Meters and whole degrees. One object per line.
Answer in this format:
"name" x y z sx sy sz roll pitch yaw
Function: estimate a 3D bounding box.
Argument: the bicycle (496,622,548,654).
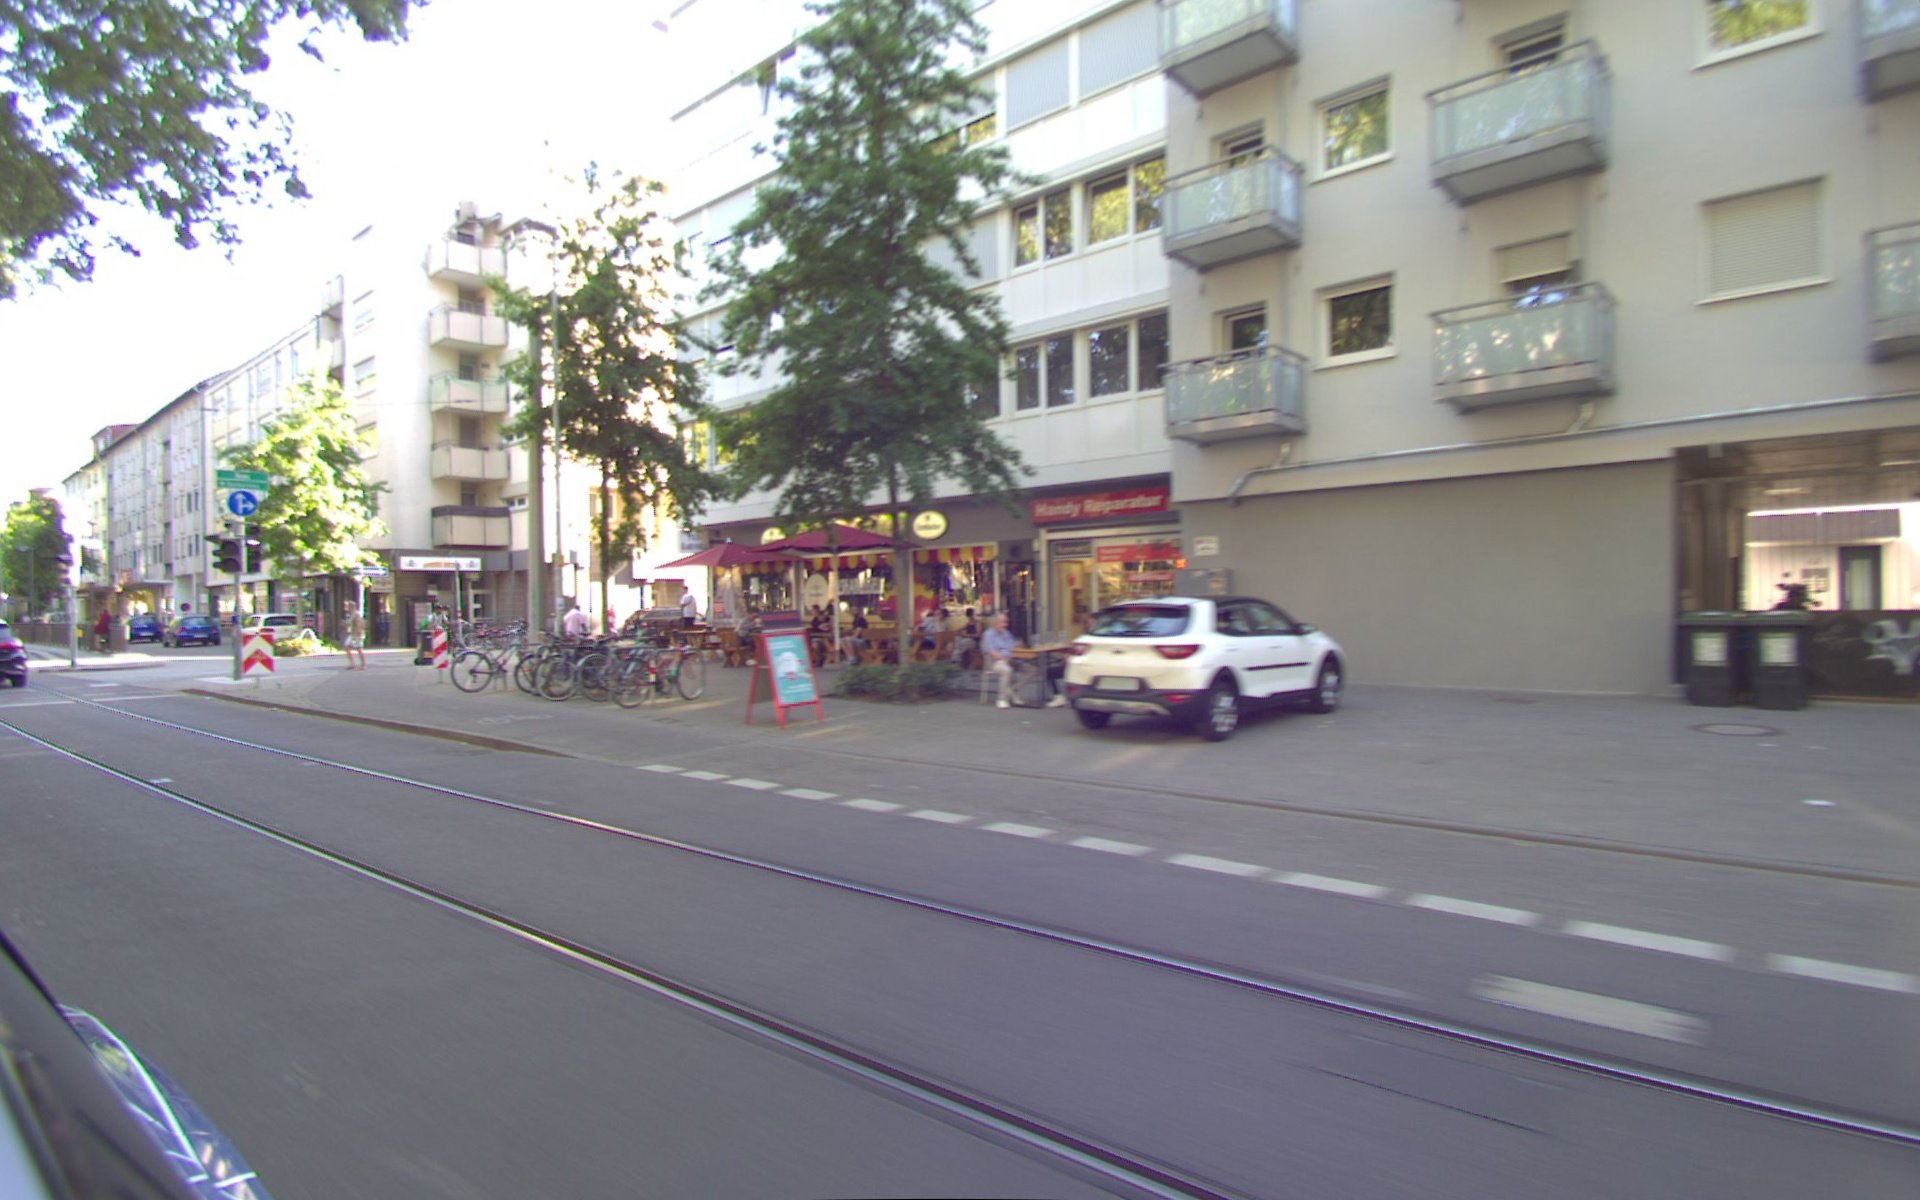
"bicycle" -16.421 1.413 37.985 0.571 1.165 1.768 -1 -1 35

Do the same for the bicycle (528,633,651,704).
"bicycle" -5.990 1.083 16.453 0.657 1.014 1.812 -1 0 37

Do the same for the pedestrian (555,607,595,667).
"pedestrian" -10.348 0.985 27.212 0.767 1.568 0.718 -1 -1 36

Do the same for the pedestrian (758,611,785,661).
"pedestrian" -4.600 0.879 24.669 0.507 1.207 0.562 -1 -1 7

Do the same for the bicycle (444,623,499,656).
"bicycle" -18.028 1.458 37.385 0.568 1.165 2.024 -1 -1 19

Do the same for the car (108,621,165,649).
"car" -44.414 1.879 54.547 4.281 1.475 1.775 -2 -2 42

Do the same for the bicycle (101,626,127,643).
"bicycle" -56.699 2.305 67.815 2.020 1.165 0.555 -1 -1 27

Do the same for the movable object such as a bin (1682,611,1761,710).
"movable object such as a bin" 8.581 0.663 11.405 0.622 1.063 0.670 -2 -2 43

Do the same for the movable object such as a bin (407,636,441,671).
"movable object such as a bin" -14.425 1.437 27.257 0.646 0.939 0.536 -1 -1 25

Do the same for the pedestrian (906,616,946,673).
"pedestrian" -0.729 0.941 21.579 0.624 1.207 0.556 -2 -2 41

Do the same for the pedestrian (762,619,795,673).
"pedestrian" -4.152 1.042 23.148 0.564 1.207 0.506 -2 -2 43

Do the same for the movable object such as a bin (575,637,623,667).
"movable object such as a bin" -10.119 1.454 28.392 0.661 0.763 1.189 -1 0 20

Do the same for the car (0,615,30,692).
"car" -22.042 1.214 22.117 4.141 1.602 1.853 -2 1 38

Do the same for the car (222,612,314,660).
"car" -26.846 1.379 39.211 4.355 1.663 1.859 -1 1 41

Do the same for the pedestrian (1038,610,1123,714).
"pedestrian" 1.597 0.797 13.354 0.907 1.307 0.708 -1 -1 28

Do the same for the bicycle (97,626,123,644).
"bicycle" -56.584 2.307 67.386 2.020 1.165 0.555 -1 -1 27

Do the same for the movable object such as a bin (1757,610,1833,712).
"movable object such as a bin" 9.053 0.643 10.974 0.574 1.063 0.665 -2 -2 43

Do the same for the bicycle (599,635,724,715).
"bicycle" -4.285 1.051 14.630 0.657 1.014 1.675 -1 0 37

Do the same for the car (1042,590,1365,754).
"car" 2.916 0.672 11.599 1.852 1.486 3.968 -1 1 44

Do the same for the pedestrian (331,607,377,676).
"pedestrian" -15.036 1.010 25.114 0.767 1.684 0.750 -1 -1 36

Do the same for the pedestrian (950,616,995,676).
"pedestrian" 0.257 0.929 20.752 0.655 1.207 0.665 -2 -1 41

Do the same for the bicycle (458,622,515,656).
"bicycle" -16.737 1.365 35.832 1.759 1.165 0.574 0 -1 -17

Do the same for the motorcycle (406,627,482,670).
"motorcycle" -14.410 1.347 28.273 1.901 1.173 0.846 -1 -1 21

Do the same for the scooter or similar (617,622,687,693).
"scooter or similar" -5.482 1.010 18.029 0.498 1.185 1.068 -1 0 40

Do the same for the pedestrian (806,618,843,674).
"pedestrian" -2.994 1.017 22.374 0.684 1.207 0.601 -1 -1 7

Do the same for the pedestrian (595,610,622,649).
"pedestrian" -14.288 1.209 41.130 0.724 1.568 0.718 -1 -1 36

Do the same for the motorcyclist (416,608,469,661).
"motorcyclist" -14.463 0.950 28.307 1.008 1.451 0.870 -1 -1 20

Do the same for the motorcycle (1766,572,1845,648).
"motorcycle" 16.470 0.193 19.769 0.984 1.412 2.196 -1 -1 35

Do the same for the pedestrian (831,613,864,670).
"pedestrian" -2.409 0.890 21.732 0.558 1.207 0.511 -1 -1 13

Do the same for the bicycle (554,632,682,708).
"bicycle" -5.234 1.040 15.580 0.657 1.014 1.812 -1 0 37

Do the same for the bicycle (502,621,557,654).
"bicycle" -15.898 1.390 37.380 1.760 1.165 0.573 0 -1 -38

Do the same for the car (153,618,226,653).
"car" -35.948 1.630 47.180 4.388 1.556 1.935 -2 -2 42

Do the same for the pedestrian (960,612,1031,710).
"pedestrian" 0.499 0.827 13.983 0.744 1.307 0.708 -1 -1 28

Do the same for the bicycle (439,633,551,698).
"bicycle" -8.179 1.126 17.856 0.657 1.014 1.675 -1 0 37

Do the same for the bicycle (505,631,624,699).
"bicycle" -6.717 1.084 17.272 0.657 1.014 1.812 -1 0 37

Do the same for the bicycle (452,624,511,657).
"bicycle" -17.336 1.454 36.673 1.837 1.165 0.572 0 -1 -44

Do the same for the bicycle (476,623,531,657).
"bicycle" -16.373 1.416 36.316 1.759 1.165 0.574 0 -1 -17

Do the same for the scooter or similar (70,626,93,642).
"scooter or similar" -62.647 2.419 72.169 1.259 1.183 0.445 -1 -1 5

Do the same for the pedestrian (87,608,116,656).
"pedestrian" -29.074 1.091 34.262 0.772 1.597 0.647 -1 -1 42

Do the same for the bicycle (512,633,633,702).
"bicycle" -6.449 1.096 16.909 0.657 1.014 1.812 -1 0 37

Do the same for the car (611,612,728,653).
"car" -11.737 1.270 41.069 1.895 1.515 4.235 -1 -1 42

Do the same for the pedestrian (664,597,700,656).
"pedestrian" -7.935 0.755 28.932 0.741 1.672 0.767 -1 -1 9

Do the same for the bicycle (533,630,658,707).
"bicycle" -5.793 1.059 16.193 0.657 1.072 1.812 -1 0 37

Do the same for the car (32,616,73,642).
"car" -69.256 2.202 77.238 4.047 1.949 1.785 -2 -1 40

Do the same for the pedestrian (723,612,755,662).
"pedestrian" -5.321 0.887 24.379 0.560 1.207 0.509 -1 -1 26
